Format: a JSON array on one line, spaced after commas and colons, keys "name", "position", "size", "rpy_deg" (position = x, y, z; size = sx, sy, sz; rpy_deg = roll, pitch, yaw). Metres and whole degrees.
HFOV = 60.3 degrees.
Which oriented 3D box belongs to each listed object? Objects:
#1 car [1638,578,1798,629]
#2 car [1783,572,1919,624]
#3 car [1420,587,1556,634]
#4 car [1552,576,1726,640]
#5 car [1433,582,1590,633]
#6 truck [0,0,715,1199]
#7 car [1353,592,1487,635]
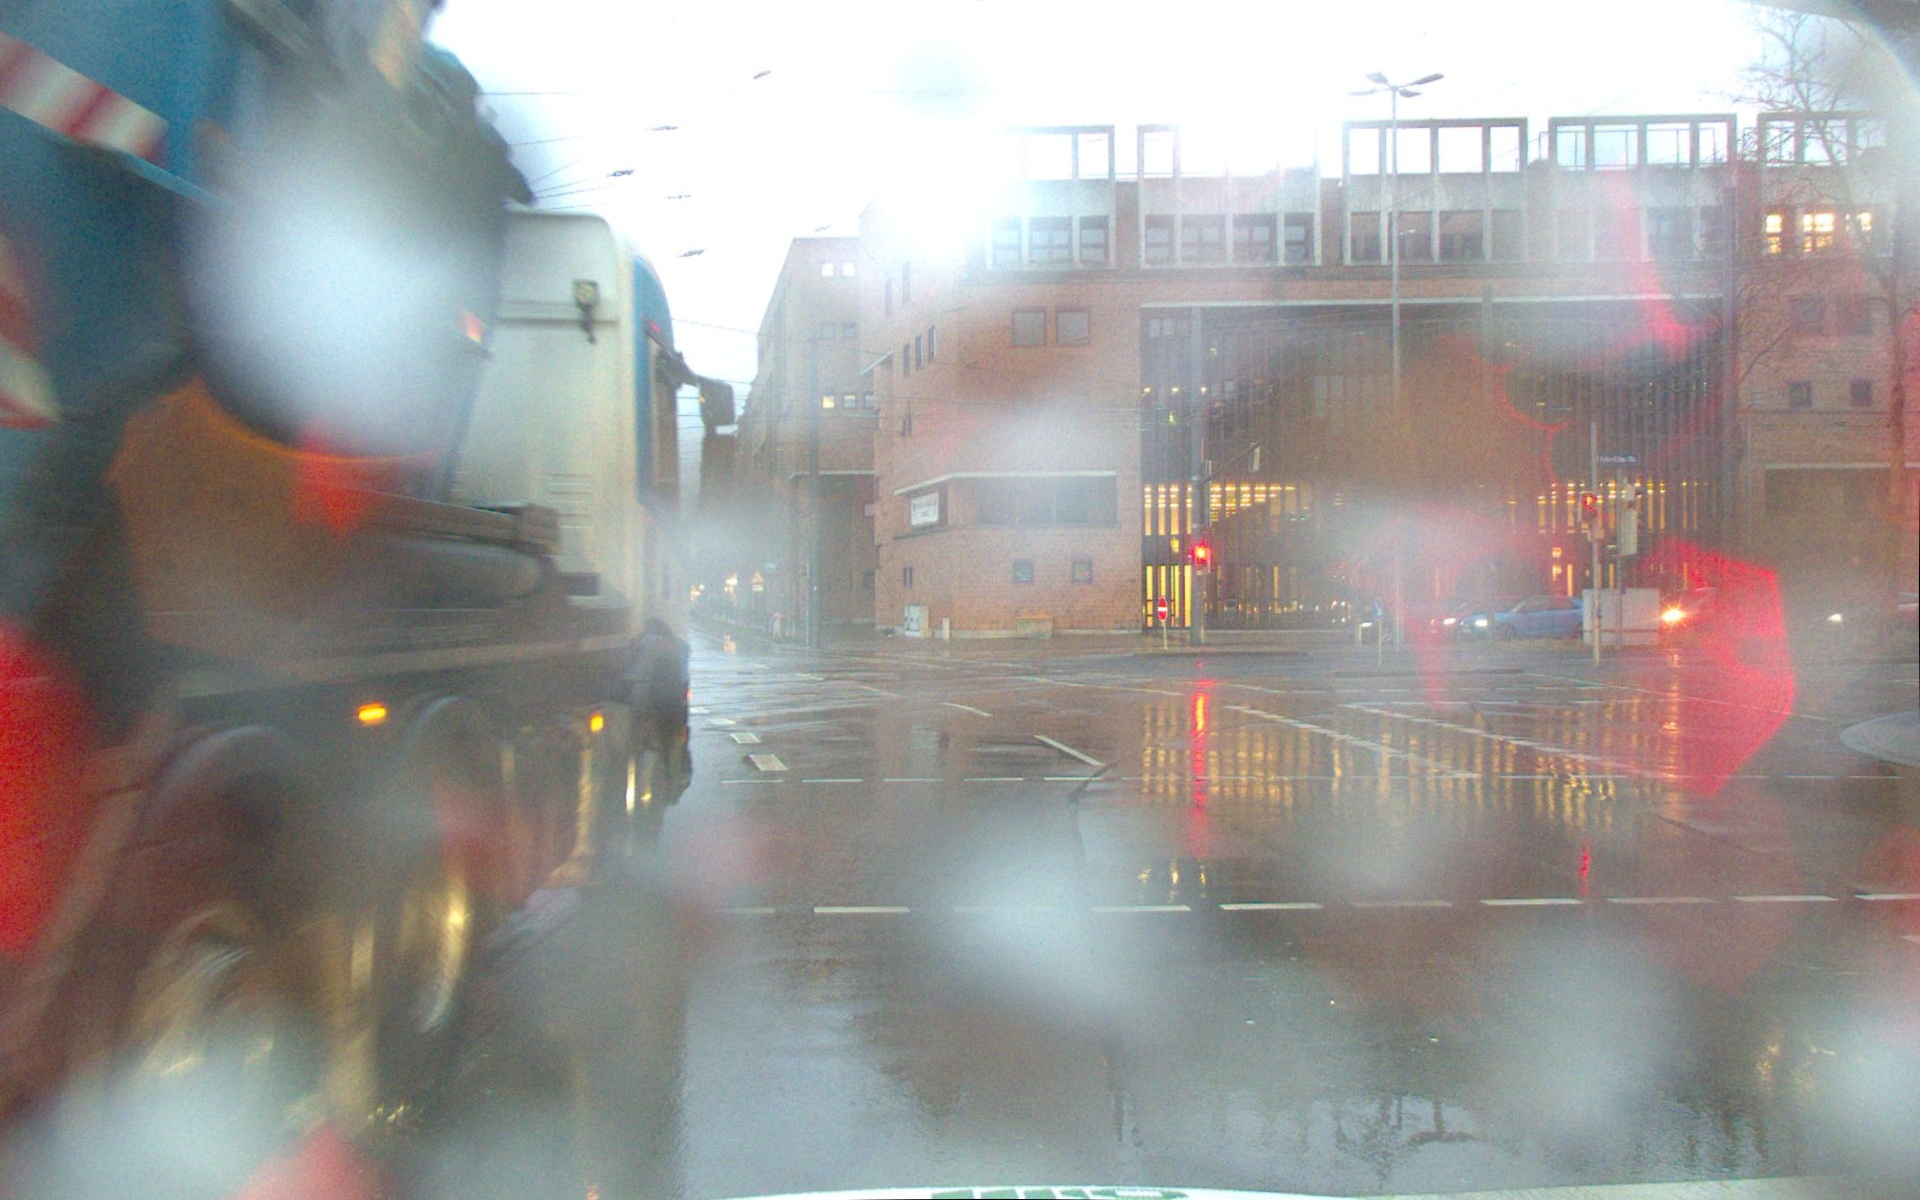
[{"name": "car", "position": [22.350, 0.091, 48.860], "size": [3.910, 1.310, 1.846], "rpy_deg": [-1, 4, -7]}, {"name": "car", "position": [29.335, -0.081, 54.132], "size": [3.910, 1.530, 1.846], "rpy_deg": [-1, 4, -7]}, {"name": "car", "position": [16.605, 0.314, 52.151], "size": [3.649, 1.284, 1.846], "rpy_deg": [-1, 4, -7]}, {"name": "car", "position": [18.231, 0.203, 44.511], "size": [3.910, 1.530, 1.846], "rpy_deg": [-1, 4, -7]}, {"name": "car", "position": [15.979, 0.206, 48.056], "size": [3.910, 1.284, 1.846], "rpy_deg": [-1, 4, -7]}, {"name": "truck", "position": [-2.707, -0.267, 5.731], "size": [2.782, 3.697, 7.524], "rpy_deg": [-1, 0, -2]}, {"name": "car", "position": [15.540, 0.447, 55.962], "size": [3.909, 1.333, 1.998], "rpy_deg": [-1, 0, -5]}]
